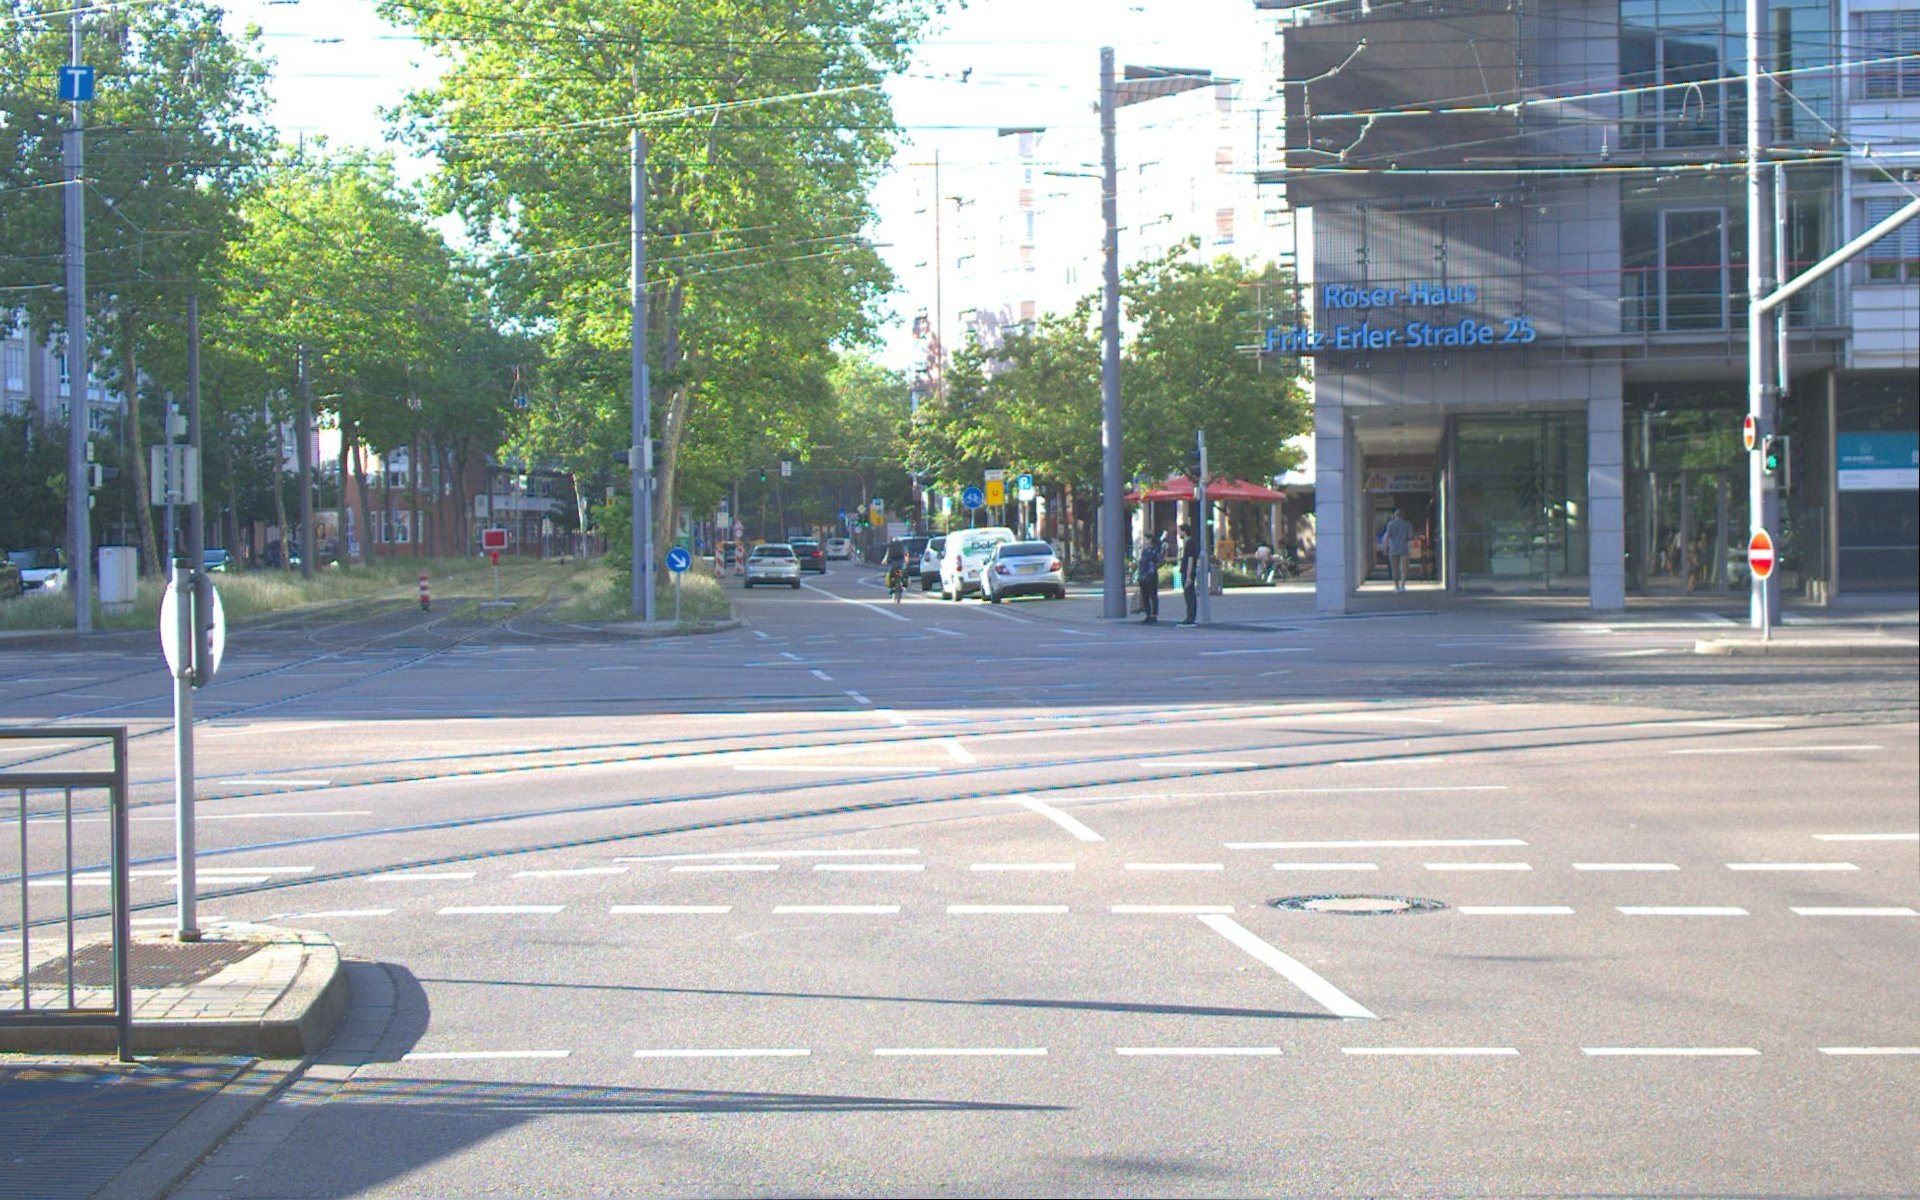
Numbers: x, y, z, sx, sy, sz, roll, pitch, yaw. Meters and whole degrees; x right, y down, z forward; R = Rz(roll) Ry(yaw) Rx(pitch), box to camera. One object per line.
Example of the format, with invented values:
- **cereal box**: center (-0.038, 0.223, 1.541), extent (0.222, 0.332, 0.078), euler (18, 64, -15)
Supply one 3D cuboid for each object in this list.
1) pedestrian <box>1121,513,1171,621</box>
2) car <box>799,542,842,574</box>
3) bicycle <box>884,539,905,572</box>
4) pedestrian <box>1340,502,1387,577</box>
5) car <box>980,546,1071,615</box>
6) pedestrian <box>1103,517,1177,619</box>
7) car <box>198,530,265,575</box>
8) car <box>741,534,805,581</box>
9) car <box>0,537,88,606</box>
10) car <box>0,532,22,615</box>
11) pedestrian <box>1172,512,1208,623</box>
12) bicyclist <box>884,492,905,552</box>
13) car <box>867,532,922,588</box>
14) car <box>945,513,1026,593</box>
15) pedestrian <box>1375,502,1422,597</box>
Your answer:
- **pedestrian**: center (3.472, -0.618, 64.254), extent (0.849, 2.007, 0.708), euler (1, 0, -1)
- **car**: center (-6.326, -1.920, 155.707), extent (1.763, 1.399, 4.297), euler (0, 1, -4)
- **bicycle**: center (-1.570, -1.084, 83.036), extent (0.490, 0.785, 1.862), euler (0, 1, -1)
- **pedestrian**: center (11.881, -1.770, 101.234), extent (1.313, 2.182, 1.170), euler (1, 0, 6)
- **car**: center (1.549, -0.472, 82.716), extent (2.029, 1.590, 4.000), euler (1, 1, -1)
- **pedestrian**: center (3.442, -0.613, 65.812), extent (1.342, 1.944, 1.011), euler (-1, 0, -1)
- **car**: center (-29.580, -1.949, 139.671), extent (1.910, 1.777, 4.000), euler (-1, 1, -1)
- **car**: center (-5.956, -1.373, 109.814), extent (1.748, 1.413, 4.000), euler (0, 2, 1)
- **car**: center (-22.099, -0.689, 82.628), extent (1.676, 1.601, 4.001), euler (1, 1, -6)
- **car**: center (-21.733, -0.581, 75.016), extent (1.822, 1.784, 4.001), euler (-1, 1, -7)
- **pedestrian**: center (4.195, -0.599, 62.726), extent (0.586, 2.007, 0.620), euler (1, 0, 0)
- **bicyclist**: center (-1.571, -1.889, 82.826), extent (0.486, 1.434, 0.615), euler (1, 1, -1)
- **car**: center (-2.401, -1.463, 126.703), extent (1.993, 2.007, 4.000), euler (1, 1, -1)
- **car**: center (0.646, -1.207, 89.567), extent (1.993, 2.007, 4.000), euler (1, 1, -1)
- **pedestrian**: center (9.360, -1.067, 73.384), extent (0.869, 2.007, 0.794), euler (1, -1, -1)
